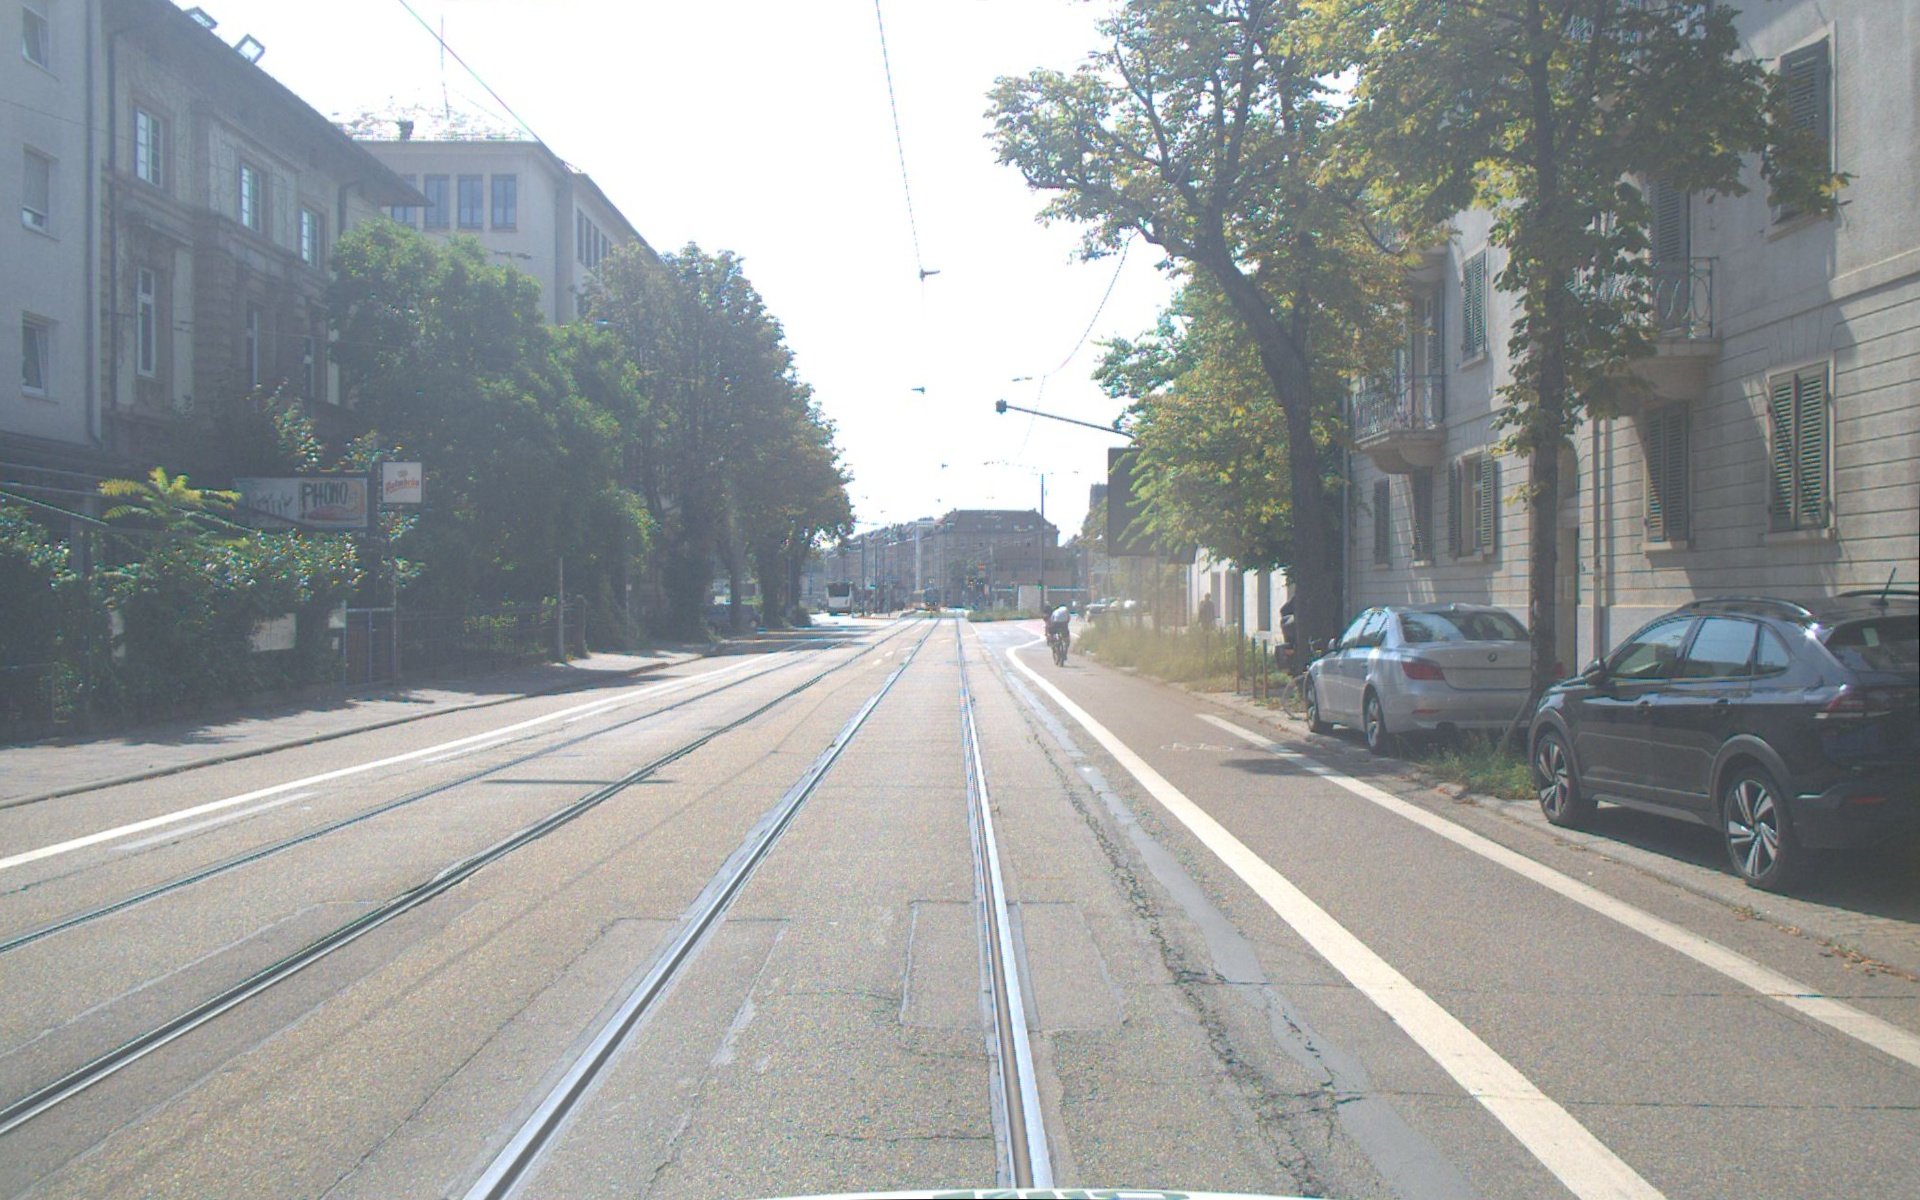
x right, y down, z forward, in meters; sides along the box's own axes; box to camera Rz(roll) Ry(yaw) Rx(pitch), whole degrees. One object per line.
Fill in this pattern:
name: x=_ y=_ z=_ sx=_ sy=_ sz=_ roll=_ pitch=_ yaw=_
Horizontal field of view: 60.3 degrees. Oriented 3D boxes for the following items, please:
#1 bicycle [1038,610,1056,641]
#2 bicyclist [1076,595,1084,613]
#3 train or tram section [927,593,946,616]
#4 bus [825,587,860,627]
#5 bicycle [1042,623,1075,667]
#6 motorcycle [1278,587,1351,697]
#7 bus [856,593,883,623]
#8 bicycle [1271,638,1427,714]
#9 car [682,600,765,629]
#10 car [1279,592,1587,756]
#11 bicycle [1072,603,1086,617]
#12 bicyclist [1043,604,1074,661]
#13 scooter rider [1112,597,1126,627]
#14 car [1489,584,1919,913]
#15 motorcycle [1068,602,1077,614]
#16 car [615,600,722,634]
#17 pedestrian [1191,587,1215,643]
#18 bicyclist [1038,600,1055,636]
bicycle: x=3.373 y=0.997 z=64.300 sx=0.591 sy=1.183 sz=1.812 roll=0 pitch=0 yaw=6
bicyclist: x=9.858 y=0.316 z=136.119 sx=0.442 sy=1.446 sz=0.494 roll=-1 pitch=-1 yaw=33
train or tram section: x=-3.727 y=0.755 z=266.049 sx=2.798 sy=3.610 sz=17.739 roll=1 pitch=0 yaw=0
bus: x=-11.719 y=0.722 z=165.625 sx=2.897 sy=3.841 sz=10.594 roll=1 pitch=0 yaw=-1
bicycle: x=2.502 y=1.139 z=42.150 sx=0.724 sy=1.067 sz=2.233 roll=0 pitch=0 yaw=0
motorcycle: x=5.371 y=0.616 z=25.202 sx=0.867 sy=1.580 sz=2.413 roll=-1 pitch=-1 yaw=8
bus: x=-11.506 y=1.022 z=211.142 sx=2.653 sy=3.792 sz=10.420 roll=1 pitch=0 yaw=1
bicycle: x=5.057 y=0.986 z=21.595 sx=1.882 sy=0.969 sz=0.721 roll=0 pitch=-1 yaw=3
car: x=-12.720 y=0.757 z=89.139 sx=4.120 sy=1.522 sz=1.797 roll=0 pitch=0 yaw=-38
car: x=4.844 y=0.687 z=17.692 sx=1.747 sy=1.476 sz=4.749 roll=-1 pitch=0 yaw=-2
bicycle: x=9.776 y=0.855 z=135.969 sx=0.436 sy=1.136 sz=1.442 roll=-1 pitch=-1 yaw=33
bicyclist: x=2.499 y=0.825 z=42.103 sx=0.729 sy=1.436 sz=0.962 roll=0 pitch=0 yaw=0
scooter rider: x=9.585 y=0.696 z=99.690 sx=0.746 sy=1.806 sz=0.555 roll=0 pitch=0 yaw=16
car: x=4.898 y=0.689 z=10.029 sx=1.630 sy=1.533 sz=4.430 roll=-1 pitch=0 yaw=-5
motorcycle: x=11.983 y=0.827 z=176.148 sx=0.591 sy=1.232 sz=2.255 roll=0 pitch=0 yaw=11
car: x=-12.952 y=0.763 z=73.519 sx=4.362 sy=1.487 sz=1.805 roll=1 pitch=0 yaw=-27
pedestrian: x=7.751 y=0.484 z=52.797 sx=0.677 sy=1.762 sz=0.579 roll=0 pitch=0 yaw=2
bicyclist: x=3.366 y=0.695 z=64.291 sx=0.590 sy=1.358 sz=0.660 roll=0 pitch=0 yaw=8
